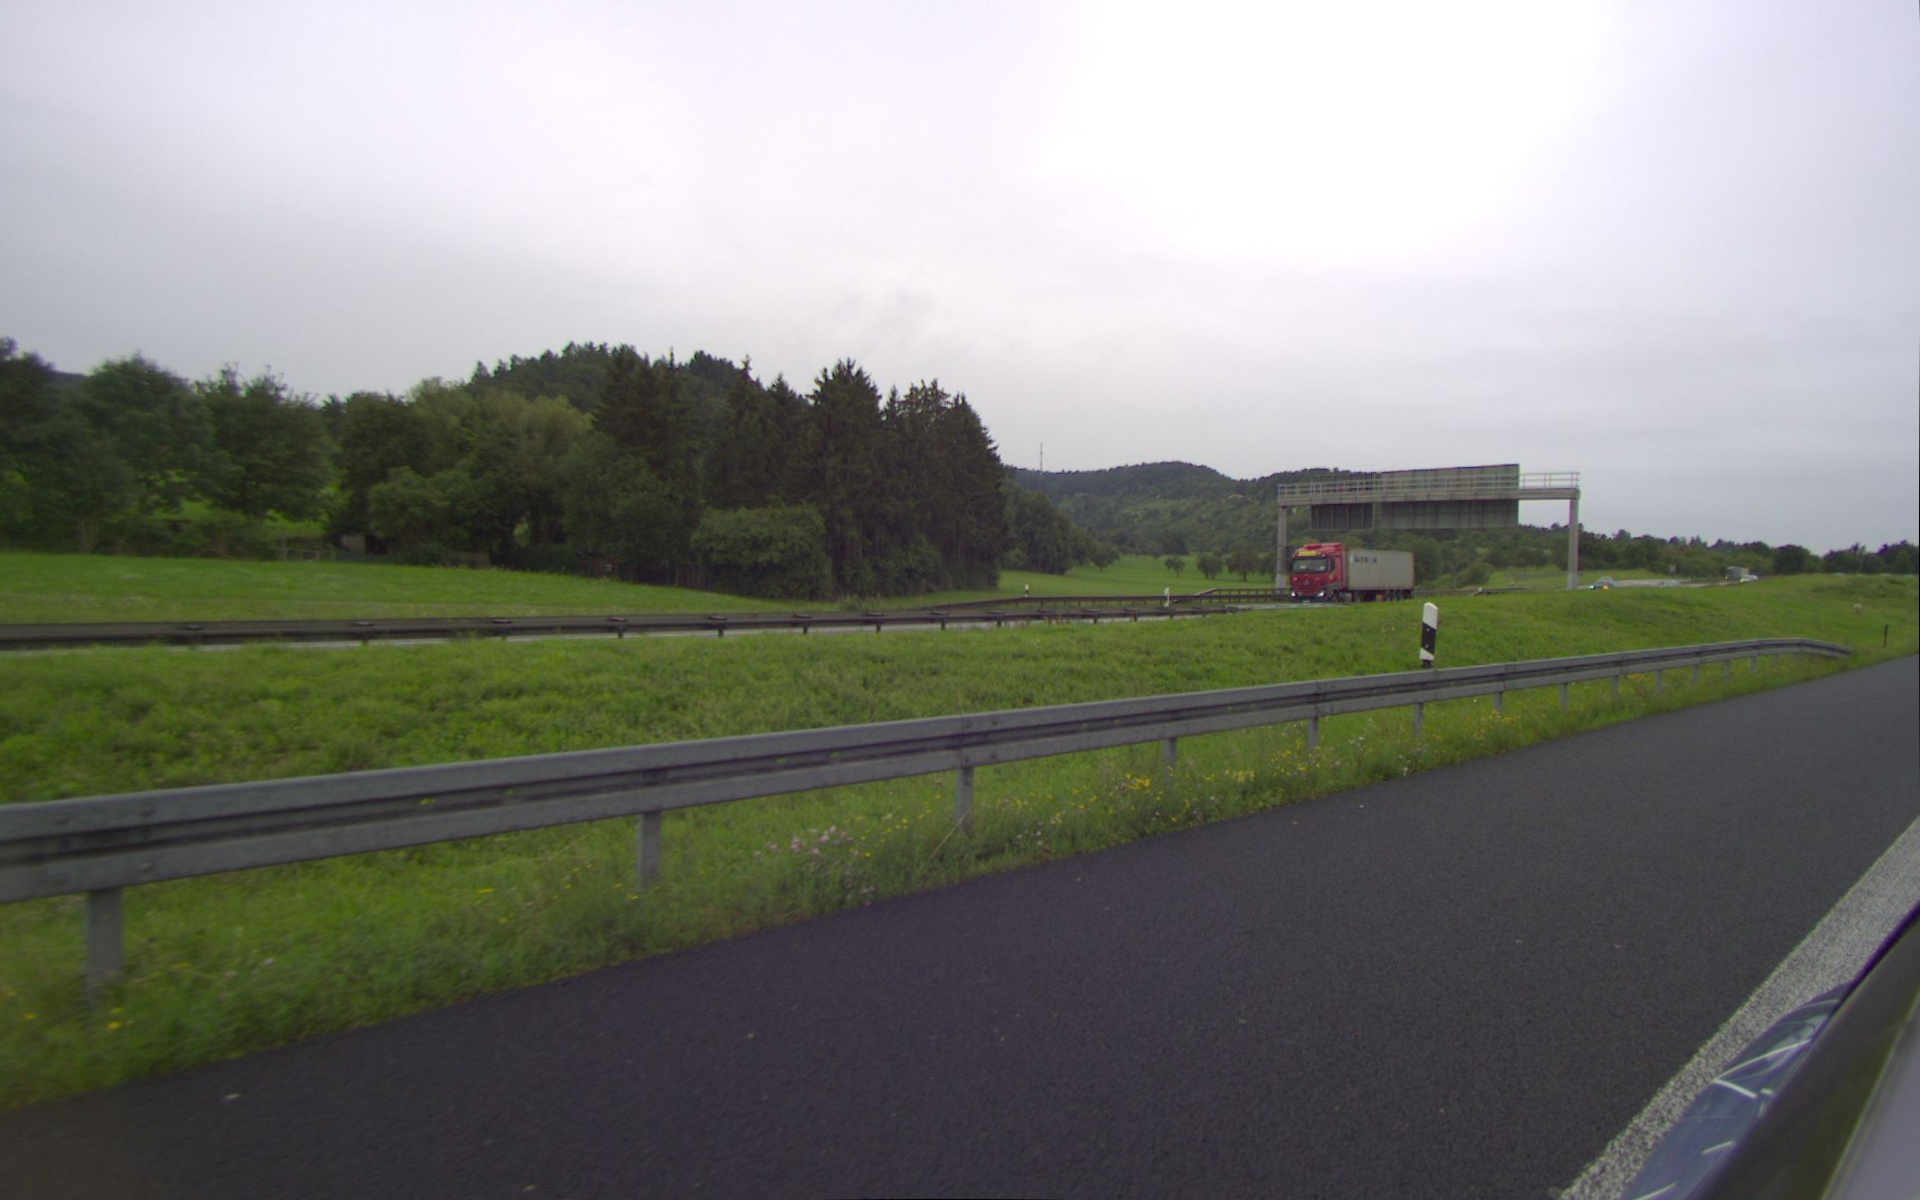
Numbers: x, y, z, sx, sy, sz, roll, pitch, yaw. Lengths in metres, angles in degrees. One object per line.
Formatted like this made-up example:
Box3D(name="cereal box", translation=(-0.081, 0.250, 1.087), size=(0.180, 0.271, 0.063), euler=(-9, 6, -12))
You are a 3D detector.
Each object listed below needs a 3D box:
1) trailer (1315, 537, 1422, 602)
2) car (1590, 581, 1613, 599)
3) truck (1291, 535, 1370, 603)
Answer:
Box3D(name="trailer", translation=(27.653, -1.907, 68.038), size=(2.490, 4.034, 12.212), euler=(-1, 0, 43))
Box3D(name="car", translation=(74.380, -1.195, 117.373), size=(1.647, 2.039, 3.940), euler=(2, 1, 42))
Box3D(name="truck", translation=(23.206, -1.880, 63.267), size=(2.507, 4.037, 5.835), euler=(-1, 0, 43))
